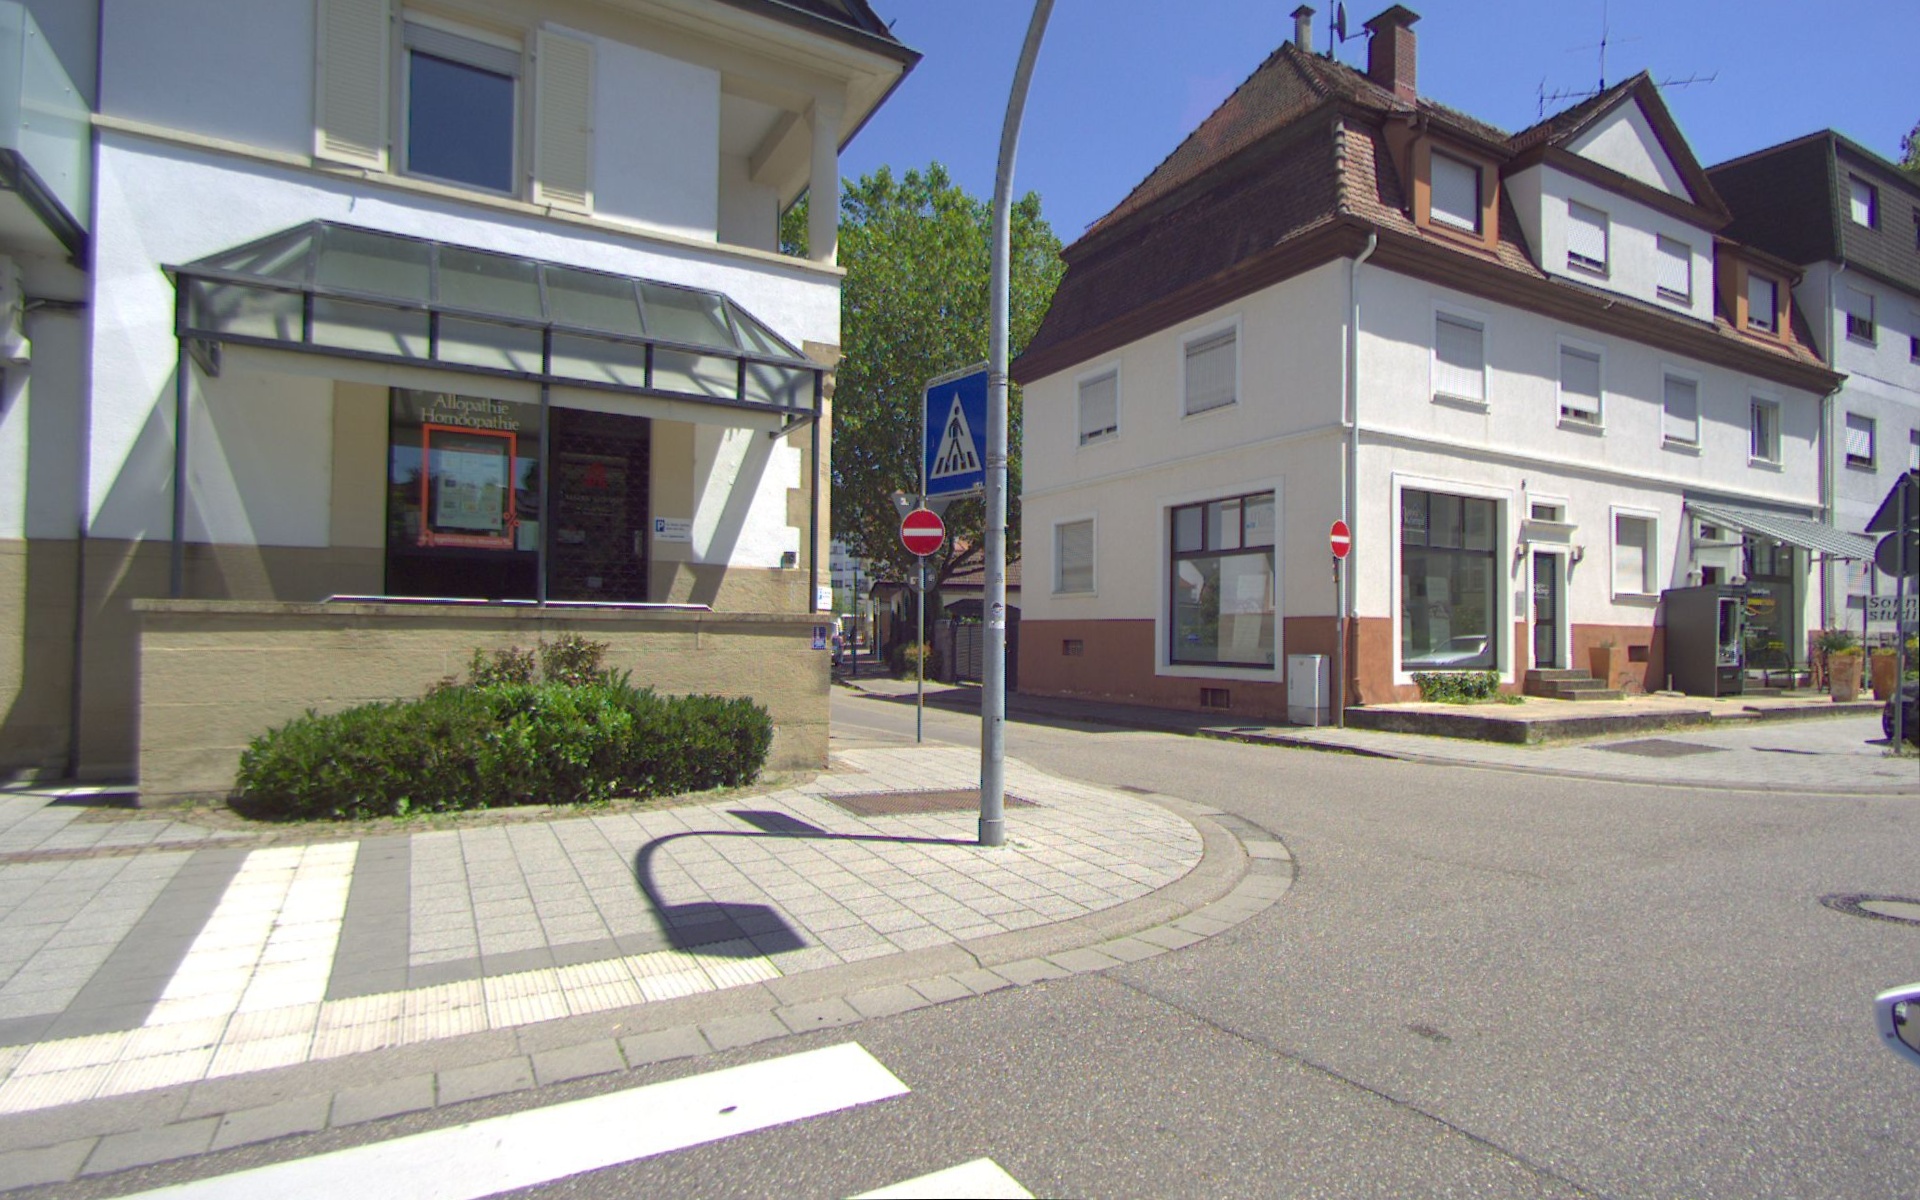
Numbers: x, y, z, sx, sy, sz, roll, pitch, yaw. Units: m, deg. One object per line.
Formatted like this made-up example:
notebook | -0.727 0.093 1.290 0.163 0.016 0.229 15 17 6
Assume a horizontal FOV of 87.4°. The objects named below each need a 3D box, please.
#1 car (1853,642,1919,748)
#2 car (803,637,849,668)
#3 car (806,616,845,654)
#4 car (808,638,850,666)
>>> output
car | 15.104 1.328 14.353 5.035 1.391 1.934 1 -1 -29
car | -6.496 2.529 49.114 1.962 1.470 3.999 0 -2 -4
car | -8.052 2.109 60.472 1.962 2.179 5.166 0 -2 -4
car | -7.054 2.797 54.396 1.962 1.470 3.999 0 -2 -4
